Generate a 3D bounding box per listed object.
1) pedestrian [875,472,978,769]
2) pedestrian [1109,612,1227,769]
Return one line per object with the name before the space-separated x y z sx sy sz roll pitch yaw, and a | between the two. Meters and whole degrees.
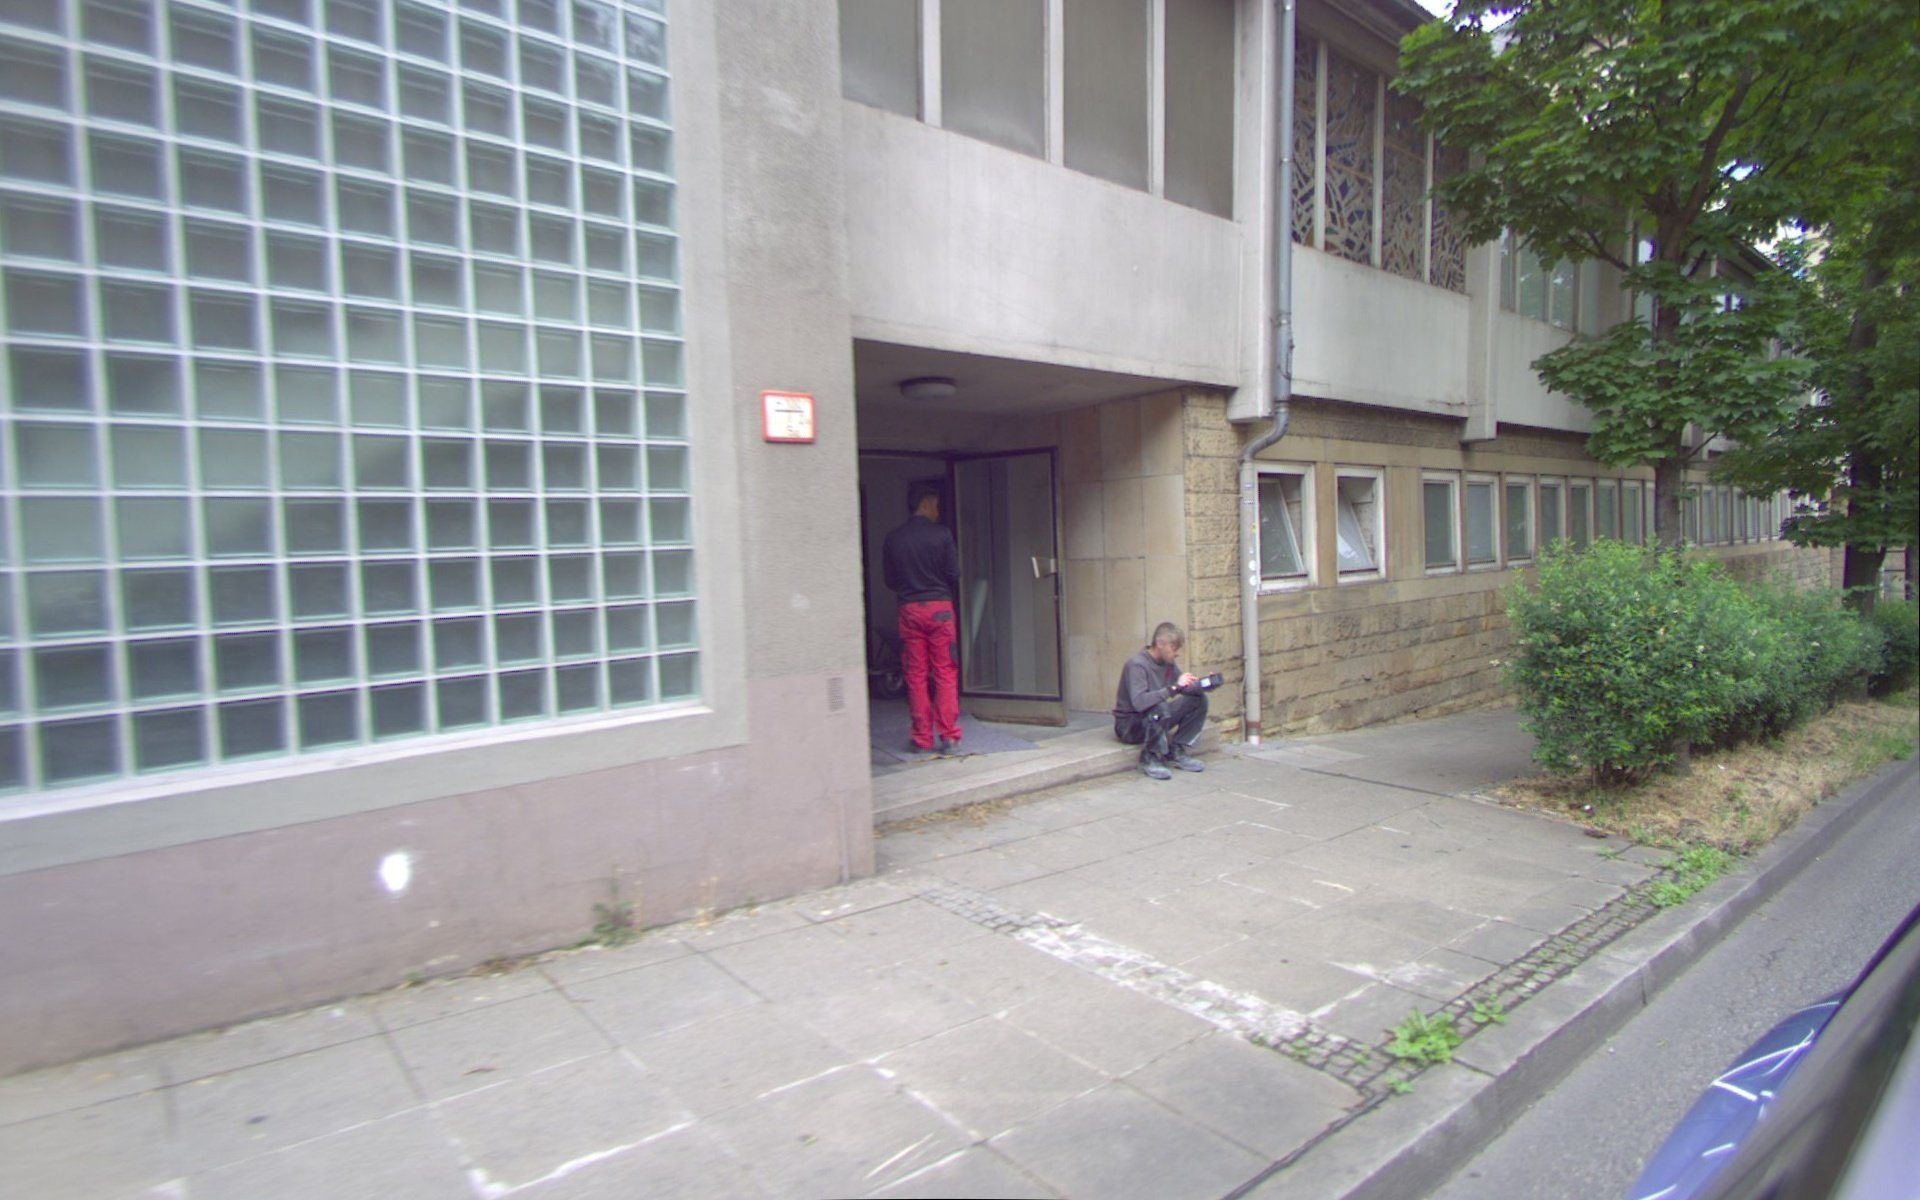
pedestrian | -0.238 0.128 6.820 0.579 1.899 0.614 0 0 -13
pedestrian | 1.392 0.576 6.768 0.597 0.977 0.526 0 0 -40
